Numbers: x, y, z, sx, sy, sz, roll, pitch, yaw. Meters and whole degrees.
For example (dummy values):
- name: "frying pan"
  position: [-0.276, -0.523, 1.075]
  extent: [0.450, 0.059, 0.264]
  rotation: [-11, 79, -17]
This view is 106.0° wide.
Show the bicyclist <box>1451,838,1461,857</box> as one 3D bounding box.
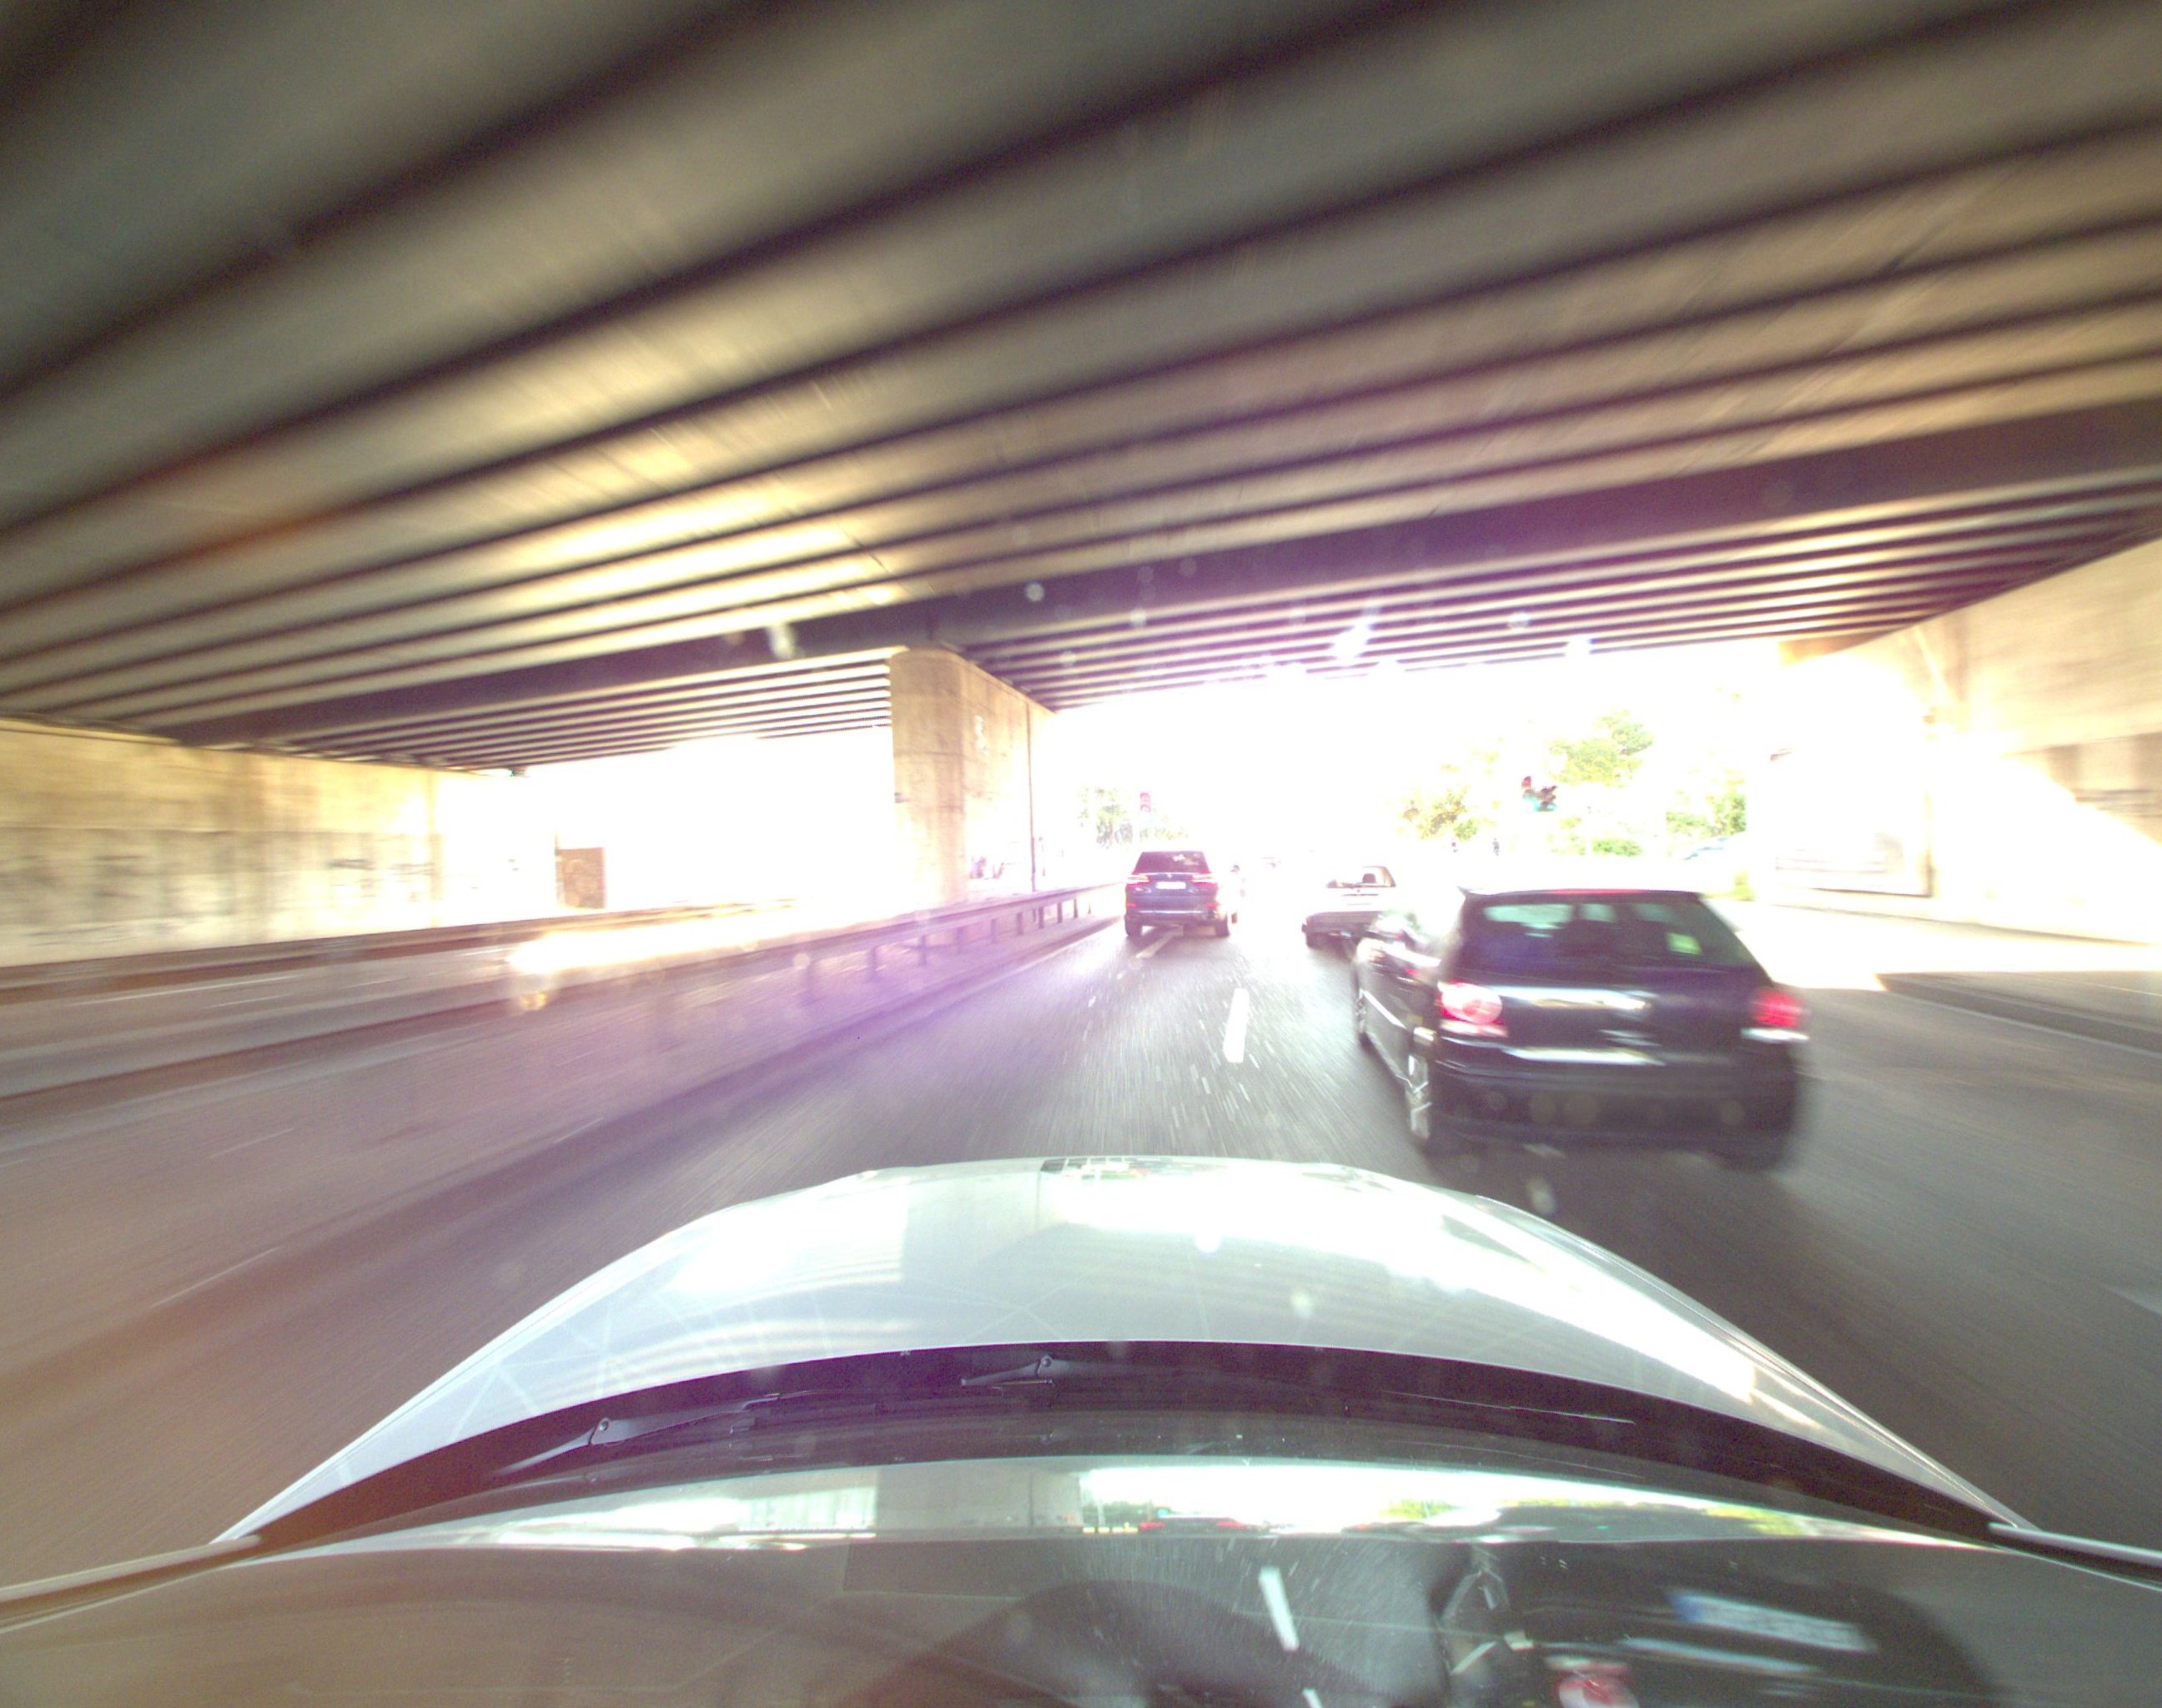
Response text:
- name: "bicyclist"
  position: [26.649, -0.466, 57.900]
  extent: [0.539, 1.316, 0.839]
  rotation: [-1, -1, 15]

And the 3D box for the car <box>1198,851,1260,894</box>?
- name: "car"
  position: [5.210, 0.610, 28.349]
  extent: [1.603, 1.409, 3.700]
  rotation: [-1, 0, 19]

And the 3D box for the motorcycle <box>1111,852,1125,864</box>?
- name: "motorcycle"
  position: [3.406, 0.381, 75.227]
  extent: [0.675, 1.156, 2.249]
  rotation: [-1, 0, 19]

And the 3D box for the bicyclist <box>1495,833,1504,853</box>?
- name: "bicyclist"
  position: [28.826, -0.758, 56.093]
  extent: [0.424, 1.309, 0.461]
  rotation: [-1, -1, 15]

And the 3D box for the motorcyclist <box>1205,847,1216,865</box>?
- name: "motorcyclist"
  position: [10.695, 0.170, 67.233]
  extent: [0.792, 1.349, 1.278]
  rotation: [-4, 1, 8]

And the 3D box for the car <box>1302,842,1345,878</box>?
- name: "car"
  position: [11.030, 0.278, 37.274]
  extent: [1.783, 1.558, 4.016]
  rotation: [0, 0, 15]

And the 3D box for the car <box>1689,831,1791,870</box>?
- name: "car"
  position: [28.520, -0.138, 35.263]
  extent: [4.066, 1.630, 1.729]
  rotation: [0, -1, -23]

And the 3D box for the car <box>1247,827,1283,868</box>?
- name: "car"
  position: [12.190, -0.401, 54.197]
  extent: [2.123, 2.576, 5.101]
  rotation: [0, 0, 10]

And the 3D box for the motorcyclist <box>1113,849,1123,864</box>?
- name: "motorcyclist"
  position: [3.390, 0.243, 75.175]
  extent: [0.676, 1.424, 0.871]
  rotation: [-1, -1, 17]

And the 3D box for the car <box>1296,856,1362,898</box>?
- name: "car"
  position: [8.216, 0.714, 27.235]
  extent: [1.979, 1.295, 4.016]
  rotation: [0, 0, 15]

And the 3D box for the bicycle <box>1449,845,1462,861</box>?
- name: "bicycle"
  position: [26.672, -0.042, 57.953]
  extent: [0.560, 1.112, 1.628]
  rotation: [-1, 0, 15]

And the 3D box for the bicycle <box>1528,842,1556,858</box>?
- name: "bicycle"
  position: [31.574, -0.249, 55.803]
  extent: [1.646, 0.991, 0.582]
  rotation: [-3, 2, 31]

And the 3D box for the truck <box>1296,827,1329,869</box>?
- name: "truck"
  position: [15.118, -0.359, 53.296]
  extent: [1.981, 2.668, 4.016]
  rotation: [0, 0, 15]

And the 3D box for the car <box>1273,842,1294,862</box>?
- name: "car"
  position: [17.001, -0.159, 68.404]
  extent: [1.605, 1.679, 3.697]
  rotation: [0, 0, 14]

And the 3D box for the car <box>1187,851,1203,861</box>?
- name: "car"
  position: [18.181, 0.387, 129.832]
  extent: [1.979, 1.400, 4.365]
  rotation: [-5, -2, 14]

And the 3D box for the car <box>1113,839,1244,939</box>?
- name: "car"
  position: [2.125, 0.623, 16.480]
  extent: [1.979, 1.734, 4.551]
  rotation: [0, 0, 15]

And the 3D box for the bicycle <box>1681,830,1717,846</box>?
- name: "bicycle"
  position: [40.527, -1.054, 53.439]
  extent: [1.775, 0.980, 0.643]
  rotation: [-1, -1, 29]

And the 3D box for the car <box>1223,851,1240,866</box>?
- name: "car"
  position: [16.749, 0.482, 90.741]
  extent: [1.691, 1.452, 3.869]
  rotation: [-6, -2, 11]

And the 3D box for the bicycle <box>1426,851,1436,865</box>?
- name: "bicycle"
  position: [23.693, 0.286, 55.122]
  extent: [0.434, 0.914, 1.031]
  rotation: [-4, -1, 15]

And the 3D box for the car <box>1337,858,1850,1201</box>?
- name: "car"
  position: [2.726, 0.736, 5.316]
  extent: [1.606, 1.409, 3.694]
  rotation: [0, 0, 11]

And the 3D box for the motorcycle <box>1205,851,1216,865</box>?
- name: "motorcycle"
  position: [10.684, 0.312, 67.191]
  extent: [0.835, 1.076, 2.407]
  rotation: [-4, 0, 8]

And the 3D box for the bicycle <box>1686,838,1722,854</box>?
- name: "bicycle"
  position: [39.944, -0.536, 52.248]
  extent: [1.775, 0.980, 0.643]
  rotation: [-1, 1, 29]

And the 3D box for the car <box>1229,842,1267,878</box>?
- name: "car"
  position: [8.360, 0.299, 40.611]
  extent: [1.604, 1.679, 3.698]
  rotation: [0, 0, 15]

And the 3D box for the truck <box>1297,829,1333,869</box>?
- name: "truck"
  position: [13.976, -0.269, 48.796]
  extent: [1.981, 2.315, 4.016]
  rotation: [0, 0, 15]

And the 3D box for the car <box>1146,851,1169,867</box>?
- name: "car"
  position: [9.186, 0.584, 97.211]
  extent: [1.979, 1.697, 4.698]
  rotation: [-5, -2, 14]

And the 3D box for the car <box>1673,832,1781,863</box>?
- name: "car"
  position: [33.062, -0.320, 41.814]
  extent: [3.953, 1.530, 2.010]
  rotation: [-1, 0, 21]

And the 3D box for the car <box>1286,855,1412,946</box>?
- name: "car"
  position: [4.684, 0.739, 14.733]
  extent: [1.569, 1.413, 4.073]
  rotation: [0, 0, 10]

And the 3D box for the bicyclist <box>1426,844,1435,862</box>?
- name: "bicyclist"
  position: [23.705, -0.065, 55.216]
  extent: [0.424, 1.233, 0.461]
  rotation: [-2, -1, 15]

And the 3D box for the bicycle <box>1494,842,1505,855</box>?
- name: "bicycle"
  position: [28.827, -0.358, 56.098]
  extent: [0.434, 0.914, 1.031]
  rotation: [-1, -1, 15]
